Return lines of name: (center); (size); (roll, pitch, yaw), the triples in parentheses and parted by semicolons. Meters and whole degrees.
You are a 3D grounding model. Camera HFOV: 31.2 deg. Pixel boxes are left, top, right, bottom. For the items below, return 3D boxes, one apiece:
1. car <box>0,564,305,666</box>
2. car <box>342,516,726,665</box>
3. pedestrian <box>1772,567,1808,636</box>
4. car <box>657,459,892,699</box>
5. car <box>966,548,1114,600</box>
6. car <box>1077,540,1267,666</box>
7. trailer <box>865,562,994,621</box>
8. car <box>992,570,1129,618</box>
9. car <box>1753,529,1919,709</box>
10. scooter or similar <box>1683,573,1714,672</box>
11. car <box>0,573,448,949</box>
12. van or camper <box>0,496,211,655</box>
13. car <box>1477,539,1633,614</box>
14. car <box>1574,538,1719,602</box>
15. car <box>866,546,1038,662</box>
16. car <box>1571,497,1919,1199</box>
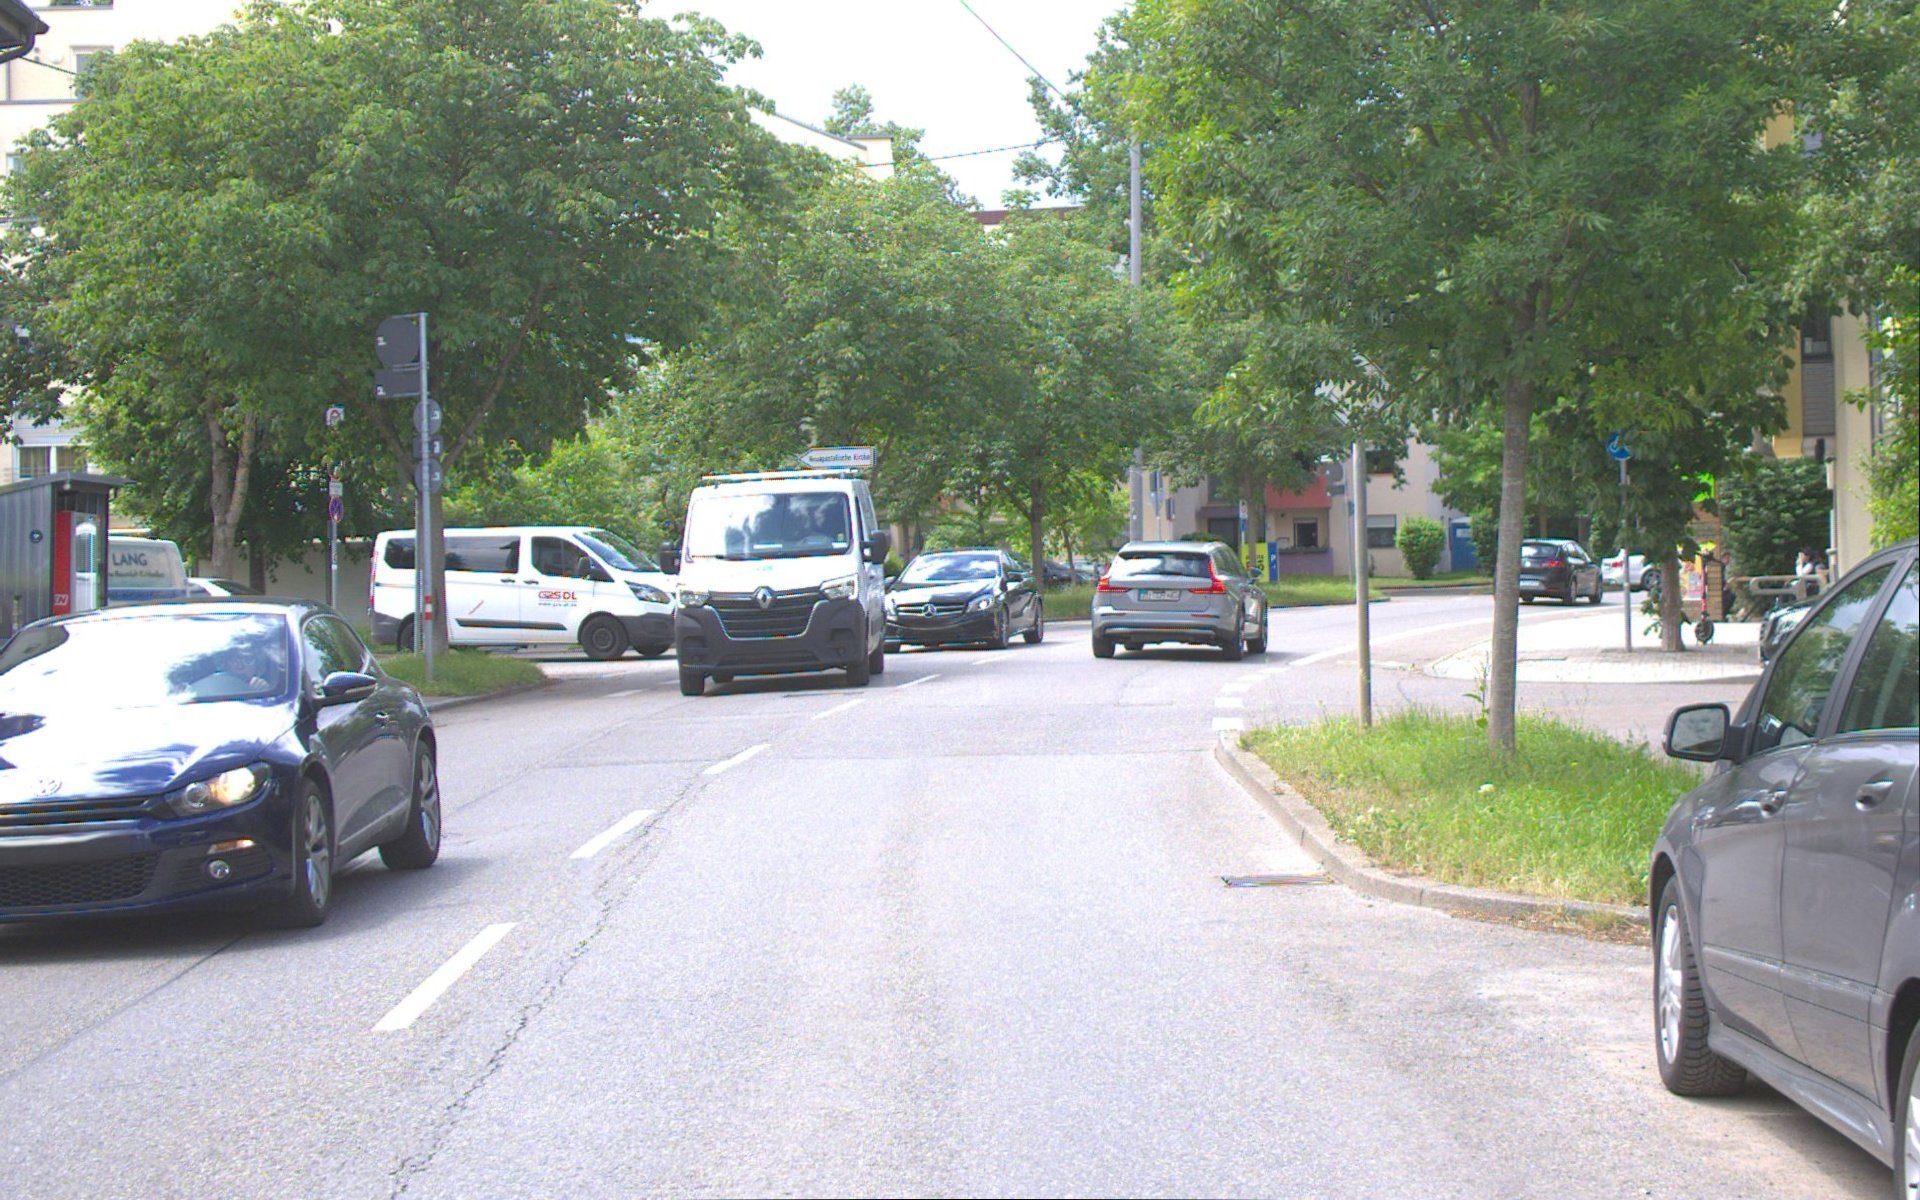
car: (-11.566, 0.220, 48.911); (4.018, 1.408, 1.815); (0, -1, 12)
car: (-6.338, -0.142, 51.259); (5.216, 1.987, 2.107); (-2, 0, 18)
pedestrian: (14.533, 0.028, 60.171); (0.577, 1.199, 0.502); (1, -1, 16)
car: (-1.948, -0.258, 37.804); (2.063, 2.345, 5.183); (-3, 1, 1)
car: (2.387, -0.760, 102.348); (4.080, 1.395, 1.793); (1, -3, 15)
car: (2.760, 0.051, 43.956); (1.957, 1.518, 4.327); (1, 0, 10)
trailer: (-0.976, -0.268, 112.399); (3.908, 1.793, 1.629); (1, -3, 13)
car: (3.258, -0.182, 111.290); (4.080, 1.395, 1.793); (1, -3, 15)
car: (9.891, 0.207, 32.197); (4.673, 1.623, 1.809); (1, 0, 9)
scooter or similar: (9.928, 0.302, 46.214); (0.381, 1.312, 1.458); (1, 0, 13)
car: (-3.561, 0.624, 15.360); (1.770, 1.421, 4.109); (-2, 0, 2)
van or camper: (-11.965, -0.293, 44.541); (1.788, 1.987, 4.370); (0, -1, 35)
car: (13.118, -0.525, 75.641); (1.808, 1.518, 4.321); (3, 2, 32)
car: (19.962, -0.864, 99.889); (4.316, 1.611, 1.809); (2, 1, -42)
car: (-0.067, 0.046, 48.856); (1.687, 1.477, 4.225); (-3, 0, 10)
car: (2.695, 0.581, 8.358); (1.690, 1.660, 4.462); (-1, 1, 1)
